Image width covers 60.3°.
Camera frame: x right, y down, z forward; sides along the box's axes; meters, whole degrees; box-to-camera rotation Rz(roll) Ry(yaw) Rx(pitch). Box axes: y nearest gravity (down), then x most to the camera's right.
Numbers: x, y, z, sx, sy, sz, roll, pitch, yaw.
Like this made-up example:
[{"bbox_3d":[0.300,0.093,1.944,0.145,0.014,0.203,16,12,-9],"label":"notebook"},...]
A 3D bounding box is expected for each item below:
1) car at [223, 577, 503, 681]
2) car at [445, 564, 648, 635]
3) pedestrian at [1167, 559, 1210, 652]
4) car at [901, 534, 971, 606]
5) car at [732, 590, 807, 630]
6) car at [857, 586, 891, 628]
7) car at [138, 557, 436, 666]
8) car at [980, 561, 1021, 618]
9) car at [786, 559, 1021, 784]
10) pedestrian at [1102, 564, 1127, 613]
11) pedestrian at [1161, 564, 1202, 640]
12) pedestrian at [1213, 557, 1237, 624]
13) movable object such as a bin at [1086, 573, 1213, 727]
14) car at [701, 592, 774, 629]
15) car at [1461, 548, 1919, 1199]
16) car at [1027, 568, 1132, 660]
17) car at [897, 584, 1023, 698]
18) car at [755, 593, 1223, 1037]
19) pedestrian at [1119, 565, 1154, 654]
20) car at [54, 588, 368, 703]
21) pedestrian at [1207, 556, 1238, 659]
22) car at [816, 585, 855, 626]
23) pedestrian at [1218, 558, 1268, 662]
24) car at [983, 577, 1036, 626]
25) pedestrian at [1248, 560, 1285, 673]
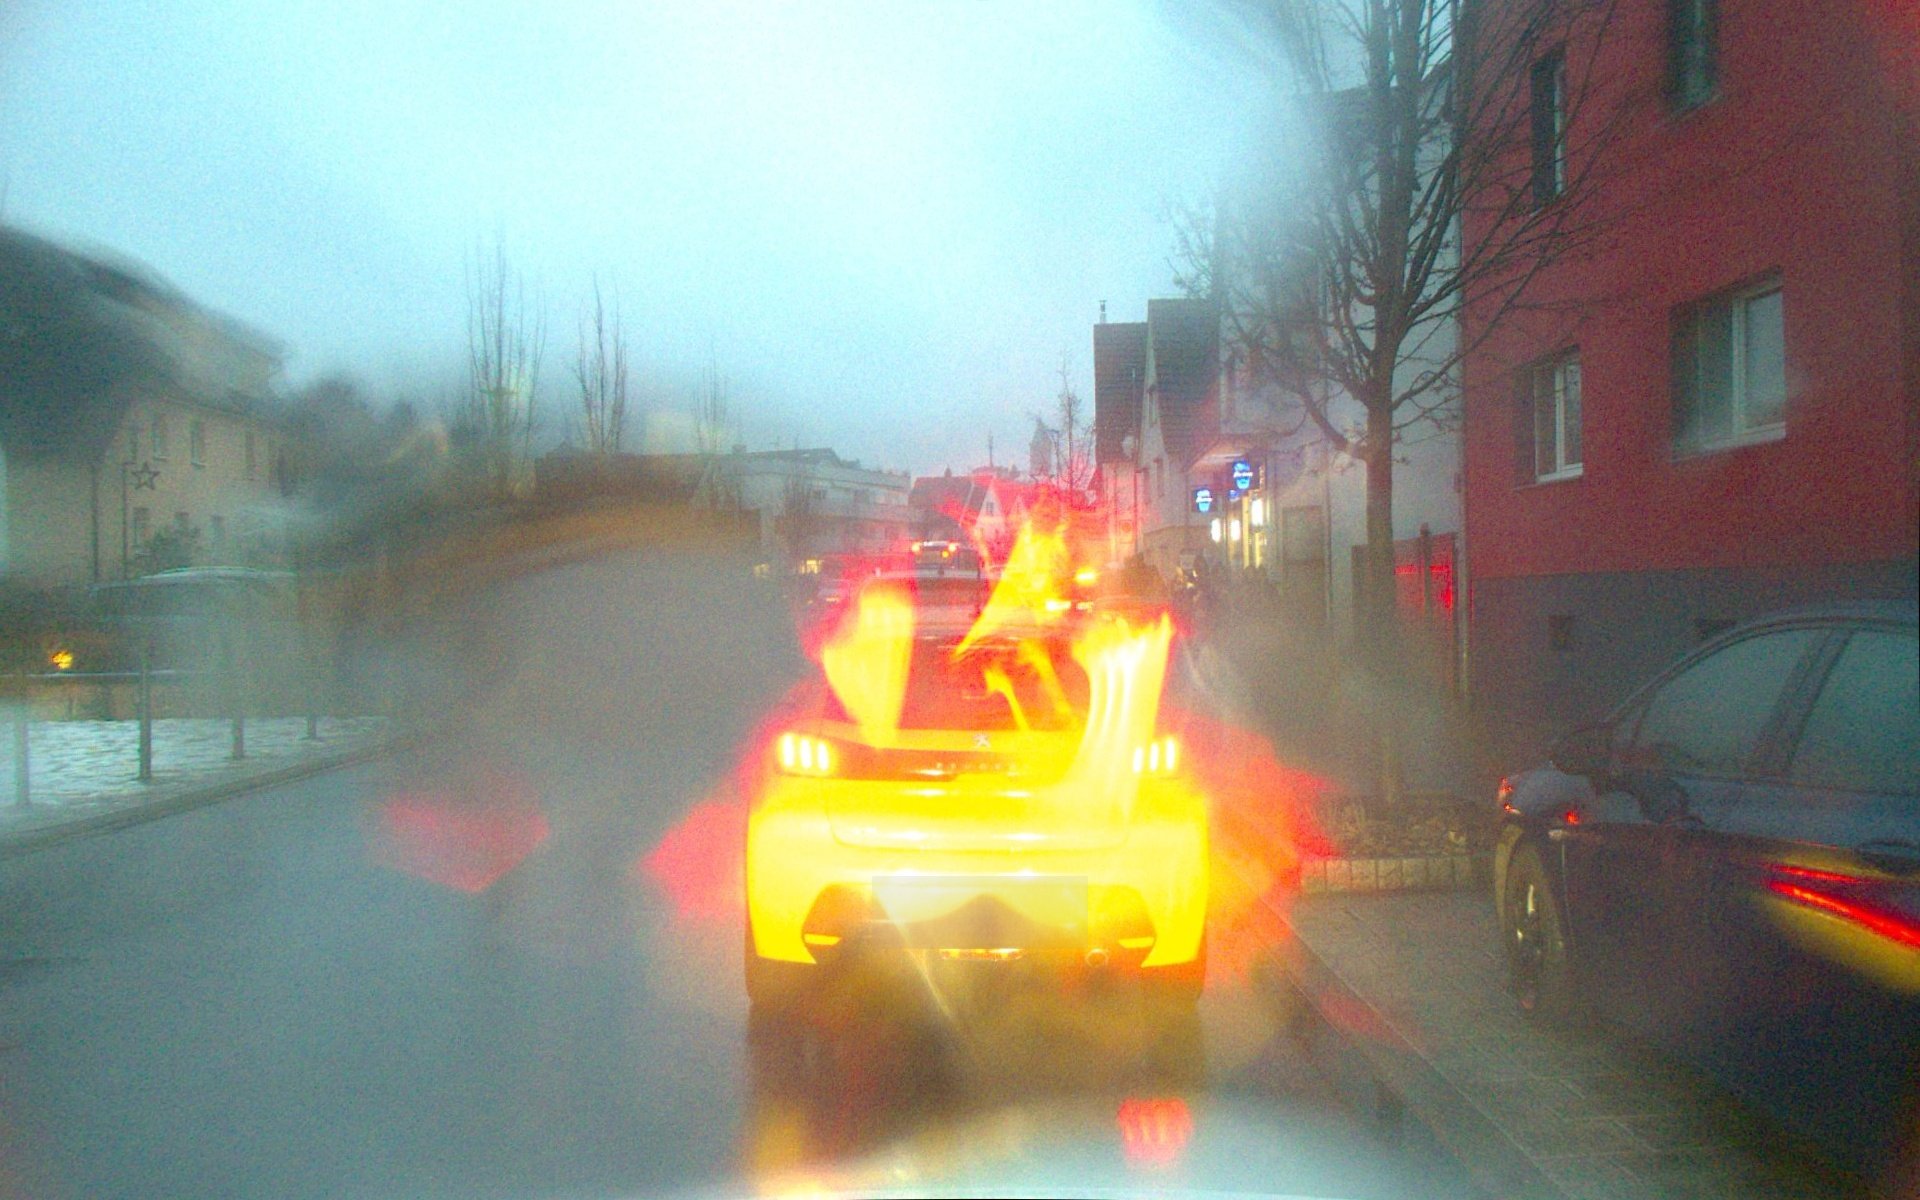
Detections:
[{"bbox_3d":[-9.759,0.464,27.190,4.008,1.636,1.588,0,0,2],"label":"car"},{"bbox_3d":[-10.138,-0.017,40.837,4.533,1.697,1.999,0,0,-3],"label":"car"},{"bbox_3d":[4.430,0.091,32.016,0.697,1.745,1.035,-2,1,13],"label":"pedestrian"},{"bbox_3d":[-1.086,-1.360,79.382,3.125,3.085,6.304,1,-2,0],"label":"car"},{"bbox_3d":[-10.919,0.612,94.821,4.310,2.204,1.987,-1,-3,44],"label":"car"},{"bbox_3d":[-4.991,0.434,96.062,1.881,2.254,3.973,1,-2,-3],"label":"car"},{"bbox_3d":[-9.913,0.155,24.513,3.713,1.549,1.716,0,0,6],"label":"car"},{"bbox_3d":[1.871,-0.445,77.816,1.832,2.512,4.443,1,-2,1],"label":"car"},{"bbox_3d":[-0.446,0.514,14.135,1.730,1.657,3.585,1,1,-1],"label":"car"},{"bbox_3d":[5.013,-0.382,53.536,0.608,1.542,0.731,-1,2,-14],"label":"pedestrian"},{"bbox_3d":[4.890,0.029,36.545,0.607,1.655,0.903,-1,2,-14],"label":"pedestrian"},{"bbox_3d":[7.023,-0.241,43.796,0.605,1.757,0.502,0,-2,11],"label":"pedestrian"},{"bbox_3d":[1.942,0.487,17.151,1.106,1.445,1.418,-4,1,1],"label":"movable object such as a bin"},{"bbox_3d":[-12.314,0.599,91.301,4.097,2.011,1.810,-1,-3,44],"label":"car"},{"bbox_3d":[2.759,0.631,4.253,1.693,1.490,4.200,-3,1,1],"label":"car"},{"bbox_3d":[2.354,0.259,33.531,1.700,1.722,4.385,-1,0,-1],"label":"car"},{"bbox_3d":[-0.026,0.484,21.750,1.510,1.355,3.311,1,1,-1],"label":"car"},{"bbox_3d":[0.082,0.709,6.990,1.531,1.437,3.017,1,0,-1],"label":"car"},{"bbox_3d":[3.488,0.186,32.691,0.561,1.729,0.653,-2,0,1],"label":"pedestrian"},{"bbox_3d":[-9.781,0.566,21.771,3.375,1.396,1.600,-1,0,-2],"label":"car"},{"bbox_3d":[4.760,0.131,29.992,0.517,1.832,0.865,0,1,9],"label":"pedestrian"},{"bbox_3d":[-6.621,0.304,88.240,1.881,2.063,3.973,1,-2,-3],"label":"car"},{"bbox_3d":[4.770,0.182,27.927,0.731,1.708,1.052,1,-2,5],"label":"pedestrian"},{"bbox_3d":[1.916,0.063,65.369,1.957,1.897,4.082,0,0,0],"label":"car"},{"bbox_3d":[4.660,0.256,25.195,0.517,1.682,0.954,0,-2,9],"label":"pedestrian"}]
